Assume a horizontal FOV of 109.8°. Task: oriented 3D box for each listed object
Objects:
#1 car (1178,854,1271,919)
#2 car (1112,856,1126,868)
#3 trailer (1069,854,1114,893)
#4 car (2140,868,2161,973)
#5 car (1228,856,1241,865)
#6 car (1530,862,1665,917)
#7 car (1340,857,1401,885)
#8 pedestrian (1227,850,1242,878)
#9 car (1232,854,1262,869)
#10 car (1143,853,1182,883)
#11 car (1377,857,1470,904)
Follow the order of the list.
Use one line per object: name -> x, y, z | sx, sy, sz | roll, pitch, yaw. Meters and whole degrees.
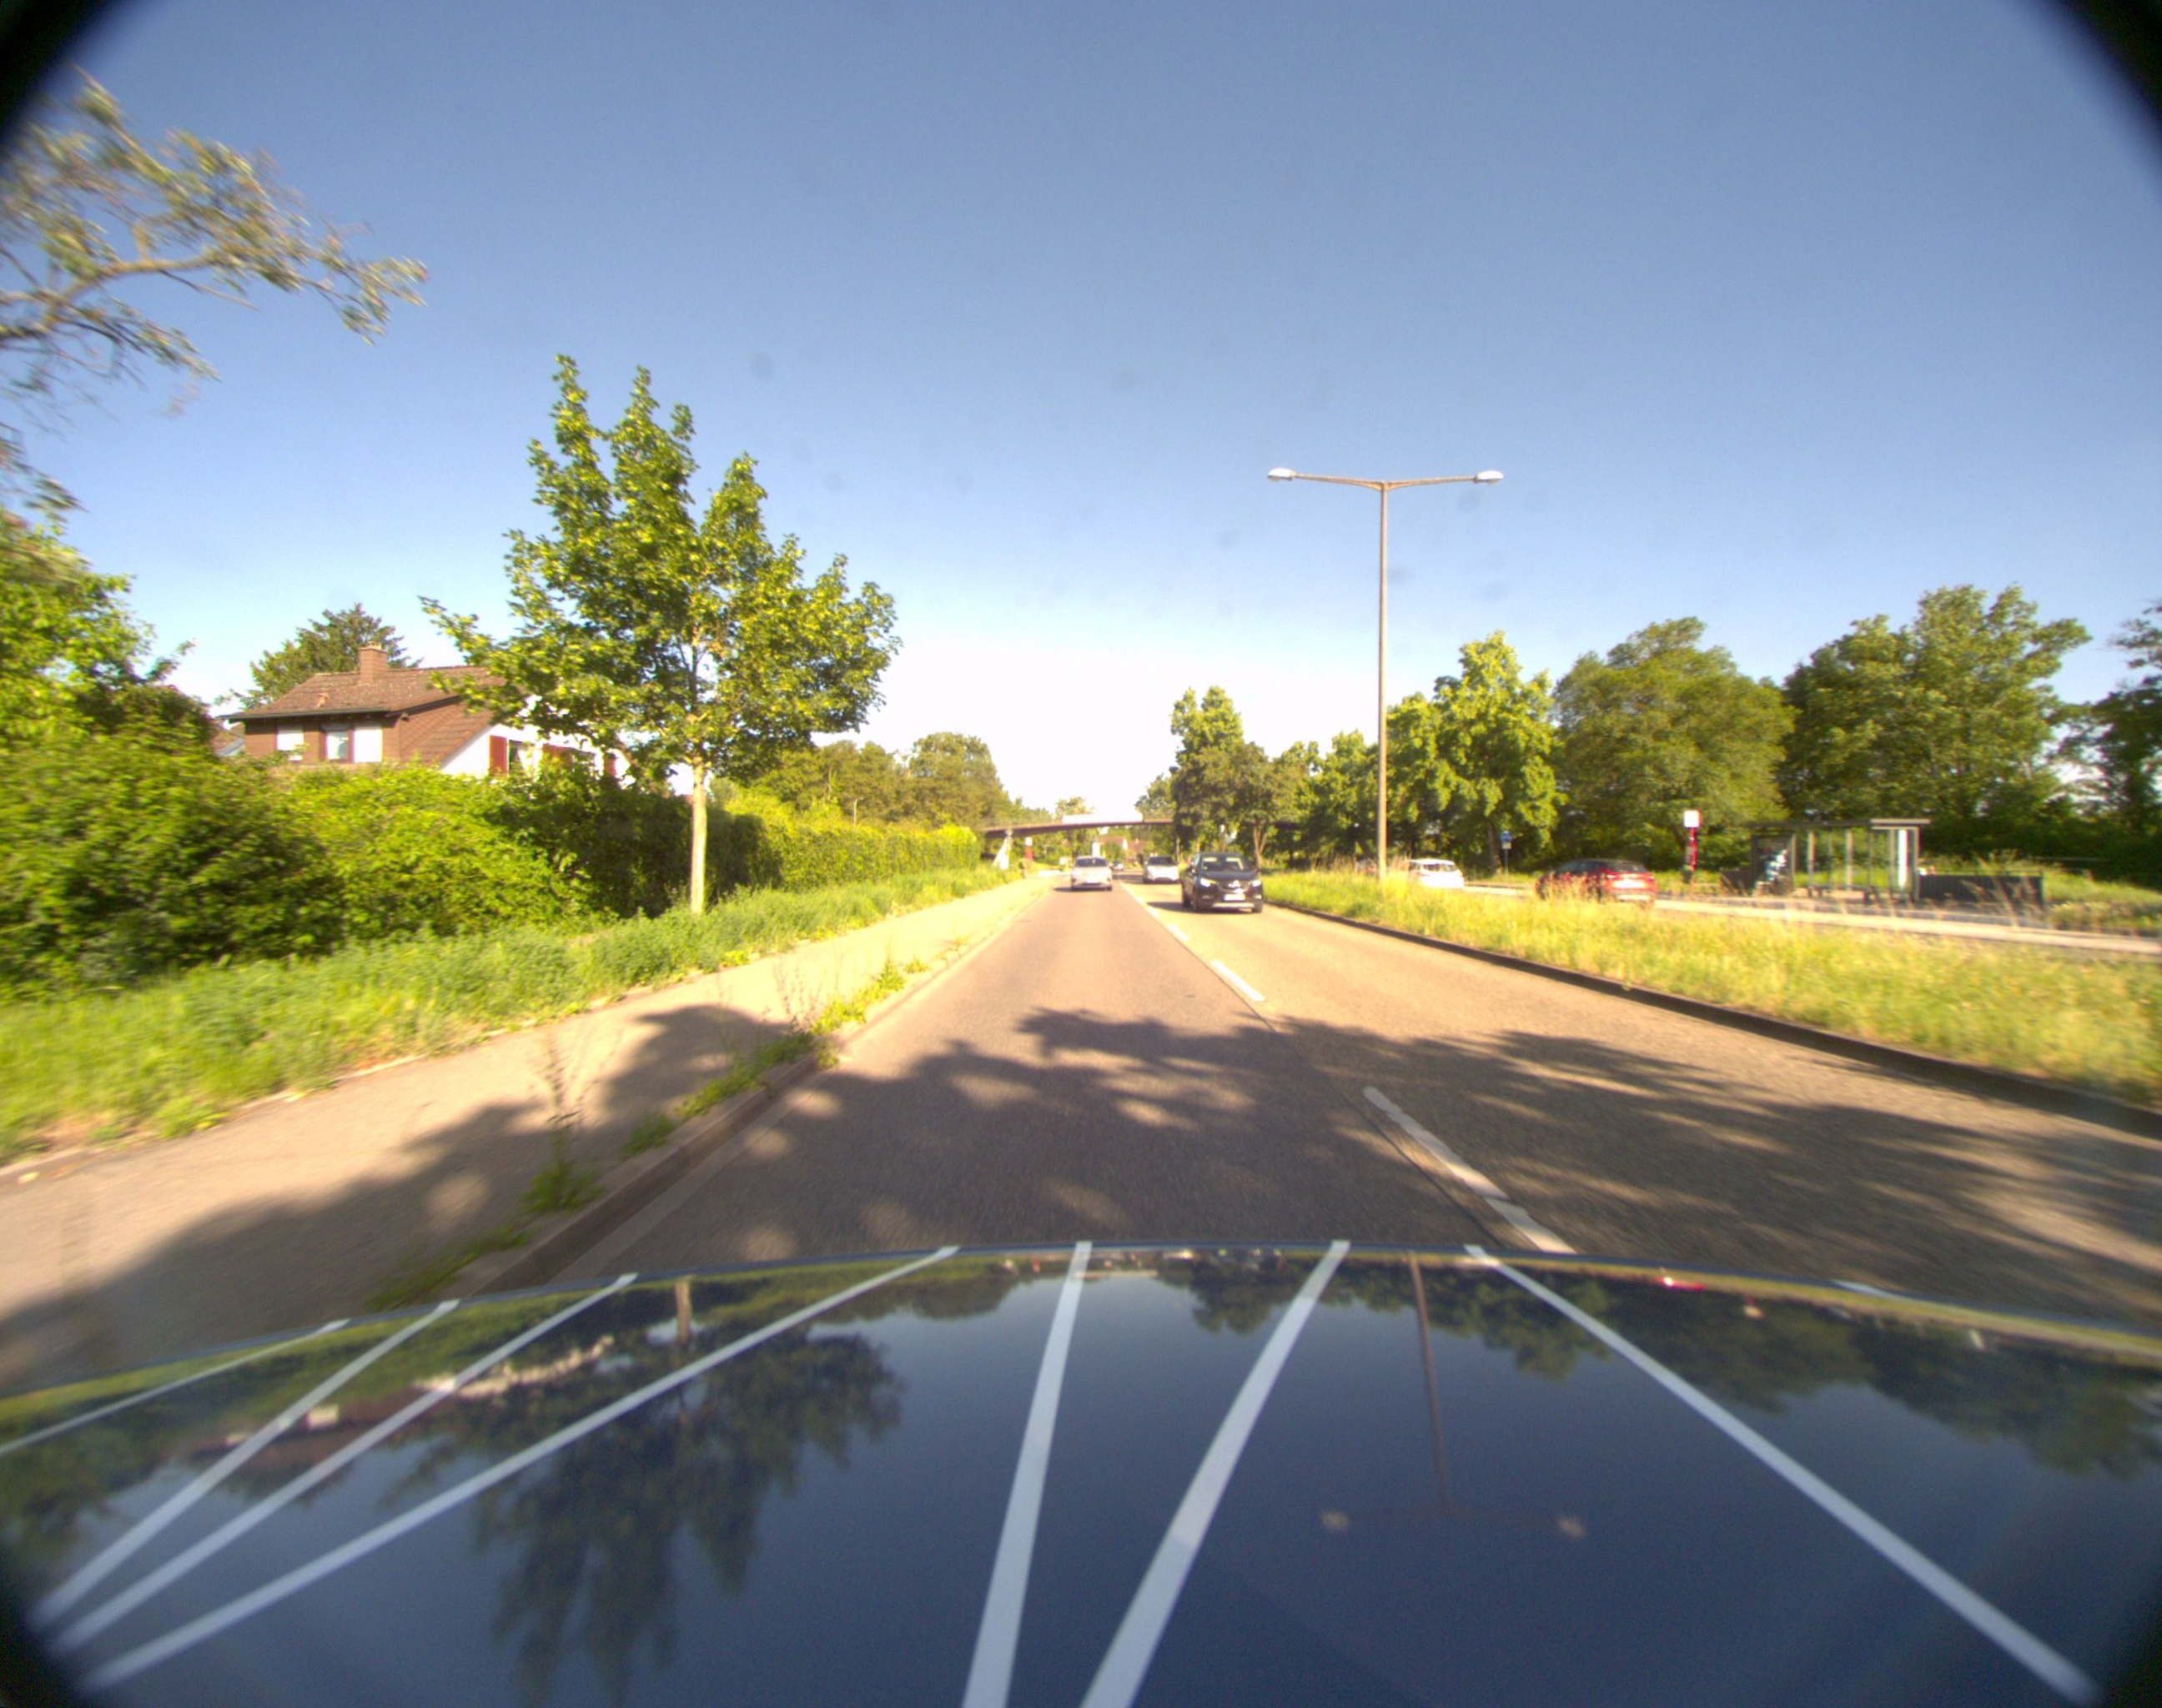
car -> 3.904, 0.827, 21.361 | 1.811, 1.605, 4.514 | 0, 0, 1
car -> 5.153, 1.107, 102.993 | 1.823, 1.587, 4.274 | -1, 0, 3
trailer -> 0.496, 0.826, 34.106 | 1.897, 1.585, 4.000 | -1, 0, 1
car -> 15.990, 0.956, 8.823 | 1.717, 1.463, 4.064 | 1, 0, 2
car -> 25.007, 1.089, 123.935 | 1.543, 1.422, 4.257 | 2, 0, 4
car -> 16.636, 1.098, 24.743 | 1.608, 1.554, 4.000 | 2, 0, 0
car -> 16.847, 0.954, 44.473 | 1.810, 1.491, 4.596 | 0, 0, 0
pedestrian -> 9.313, 0.578, 46.059 | 0.631, 1.686, 0.945 | 0, 0, 31
car -> 15.846, 0.690, 72.654 | 1.786, 1.353, 4.979 | 0, 0, 0
car -> 4.472, 0.777, 42.364 | 1.823, 1.553, 4.647 | 0, -1, 2
car -> 12.845, 0.947, 28.797 | 1.717, 1.593, 4.359 | 0, 0, 2
